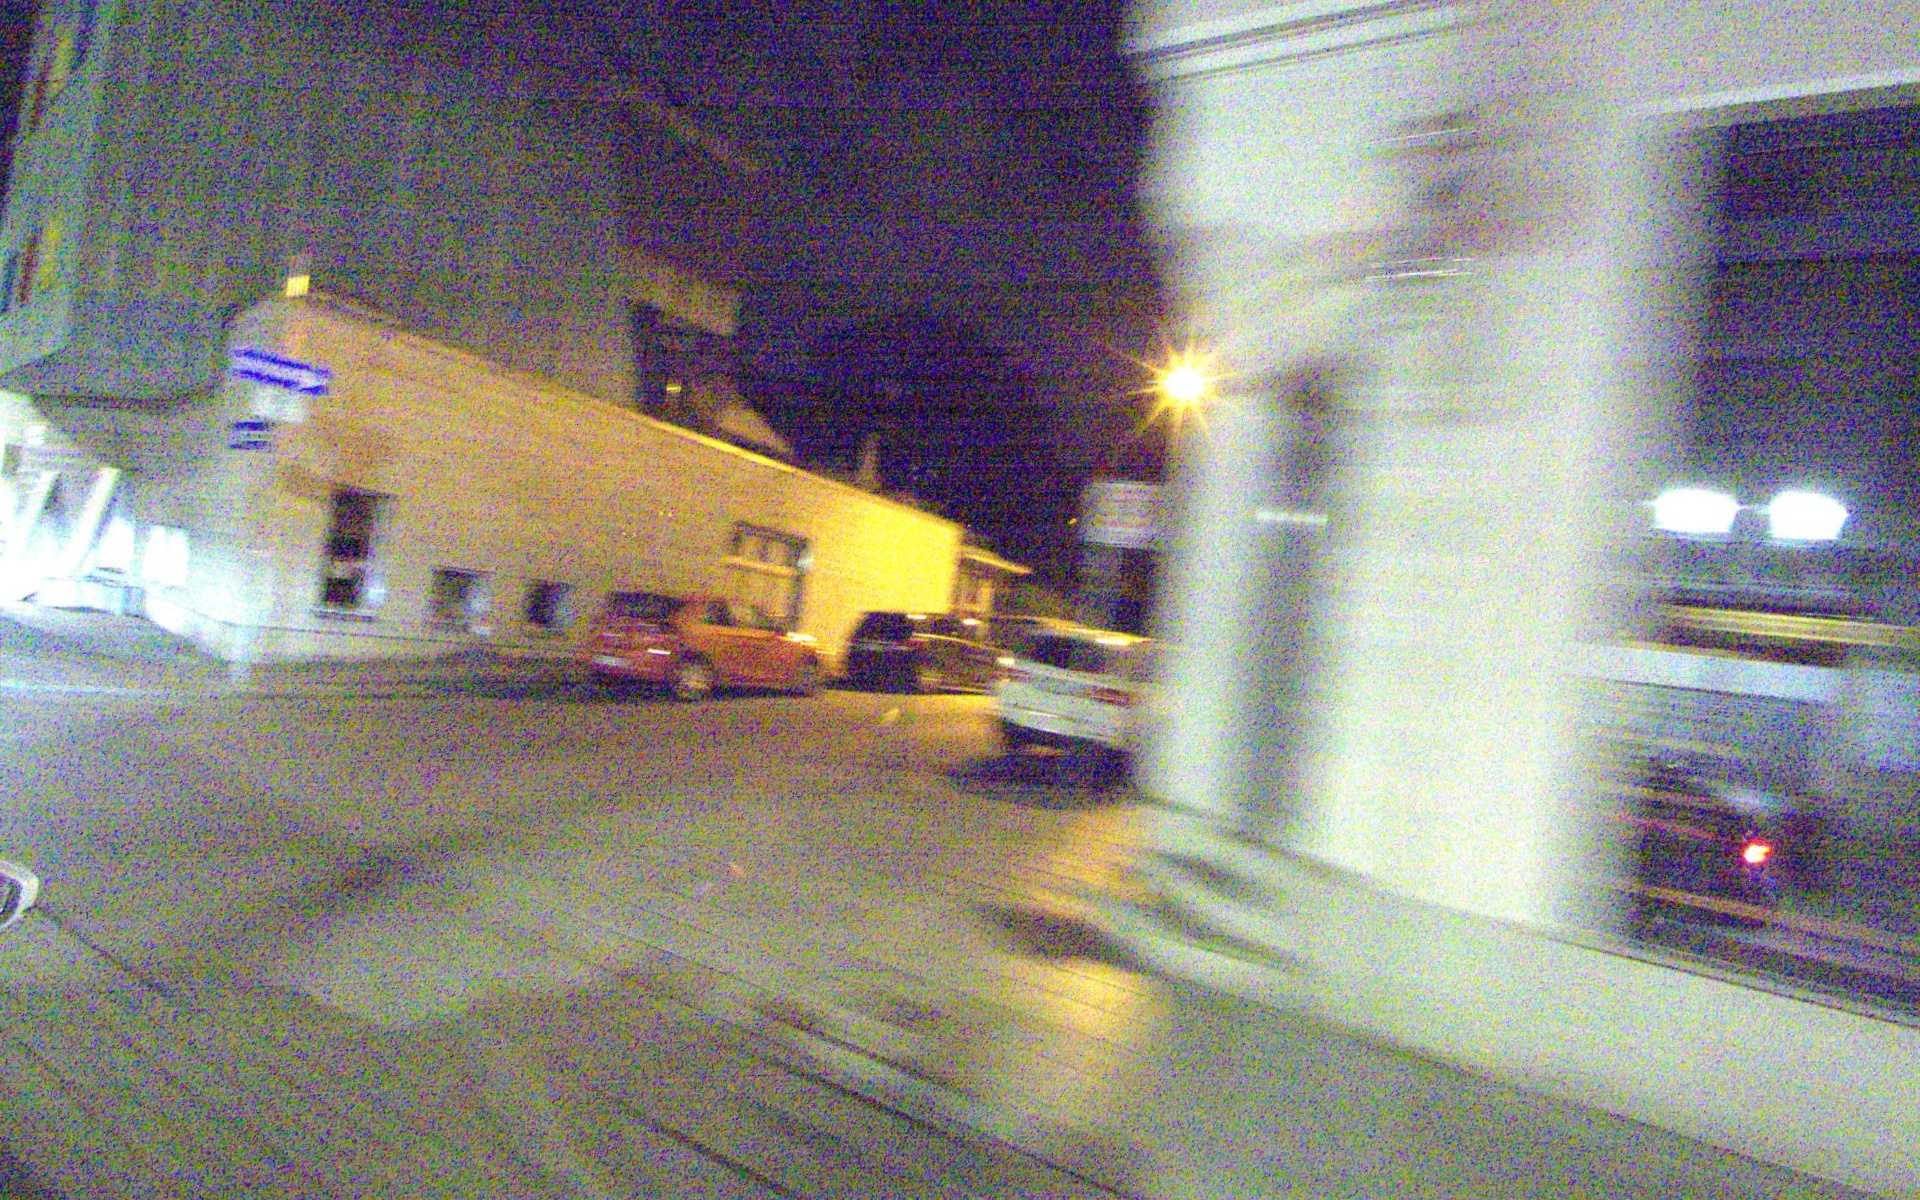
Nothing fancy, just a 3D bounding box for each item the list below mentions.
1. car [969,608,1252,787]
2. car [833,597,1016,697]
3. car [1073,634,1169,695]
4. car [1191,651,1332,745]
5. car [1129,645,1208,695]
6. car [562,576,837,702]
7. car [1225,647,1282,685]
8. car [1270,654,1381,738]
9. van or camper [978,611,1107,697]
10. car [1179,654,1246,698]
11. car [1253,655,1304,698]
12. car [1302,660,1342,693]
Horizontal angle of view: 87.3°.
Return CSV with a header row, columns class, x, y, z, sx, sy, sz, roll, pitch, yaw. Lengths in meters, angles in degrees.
class,x,y,z,sx,sy,sz,roll,pitch,yaw
car,2.112,1.202,12.865,1.868,1.659,4.312,8,0,32
car,-0.586,0.983,19.816,1.634,1.606,3.859,6,-2,30
car,4.866,1.952,30.132,1.634,1.518,3.266,7,-2,30
car,6.339,2.007,20.876,1.669,1.498,3.940,10,1,32
car,7.089,2.352,34.083,1.635,1.518,3.264,1,-2,30
car,-3.618,0.583,14.561,1.697,1.460,3.618,6,0,30
car,12.475,2.791,42.663,1.539,1.518,3.264,1,-2,30
car,9.327,2.404,25.494,1.669,1.686,3.940,10,1,32
van or camper,2.104,1.377,24.716,1.634,1.775,3.572,6,-2,30
car,9.524,2.840,37.797,1.539,1.518,3.264,1,-2,30
car,14.925,3.580,47.099,1.539,1.871,3.264,1,-2,30
car,20.643,4.336,57.235,1.539,1.714,3.264,1,-2,30
